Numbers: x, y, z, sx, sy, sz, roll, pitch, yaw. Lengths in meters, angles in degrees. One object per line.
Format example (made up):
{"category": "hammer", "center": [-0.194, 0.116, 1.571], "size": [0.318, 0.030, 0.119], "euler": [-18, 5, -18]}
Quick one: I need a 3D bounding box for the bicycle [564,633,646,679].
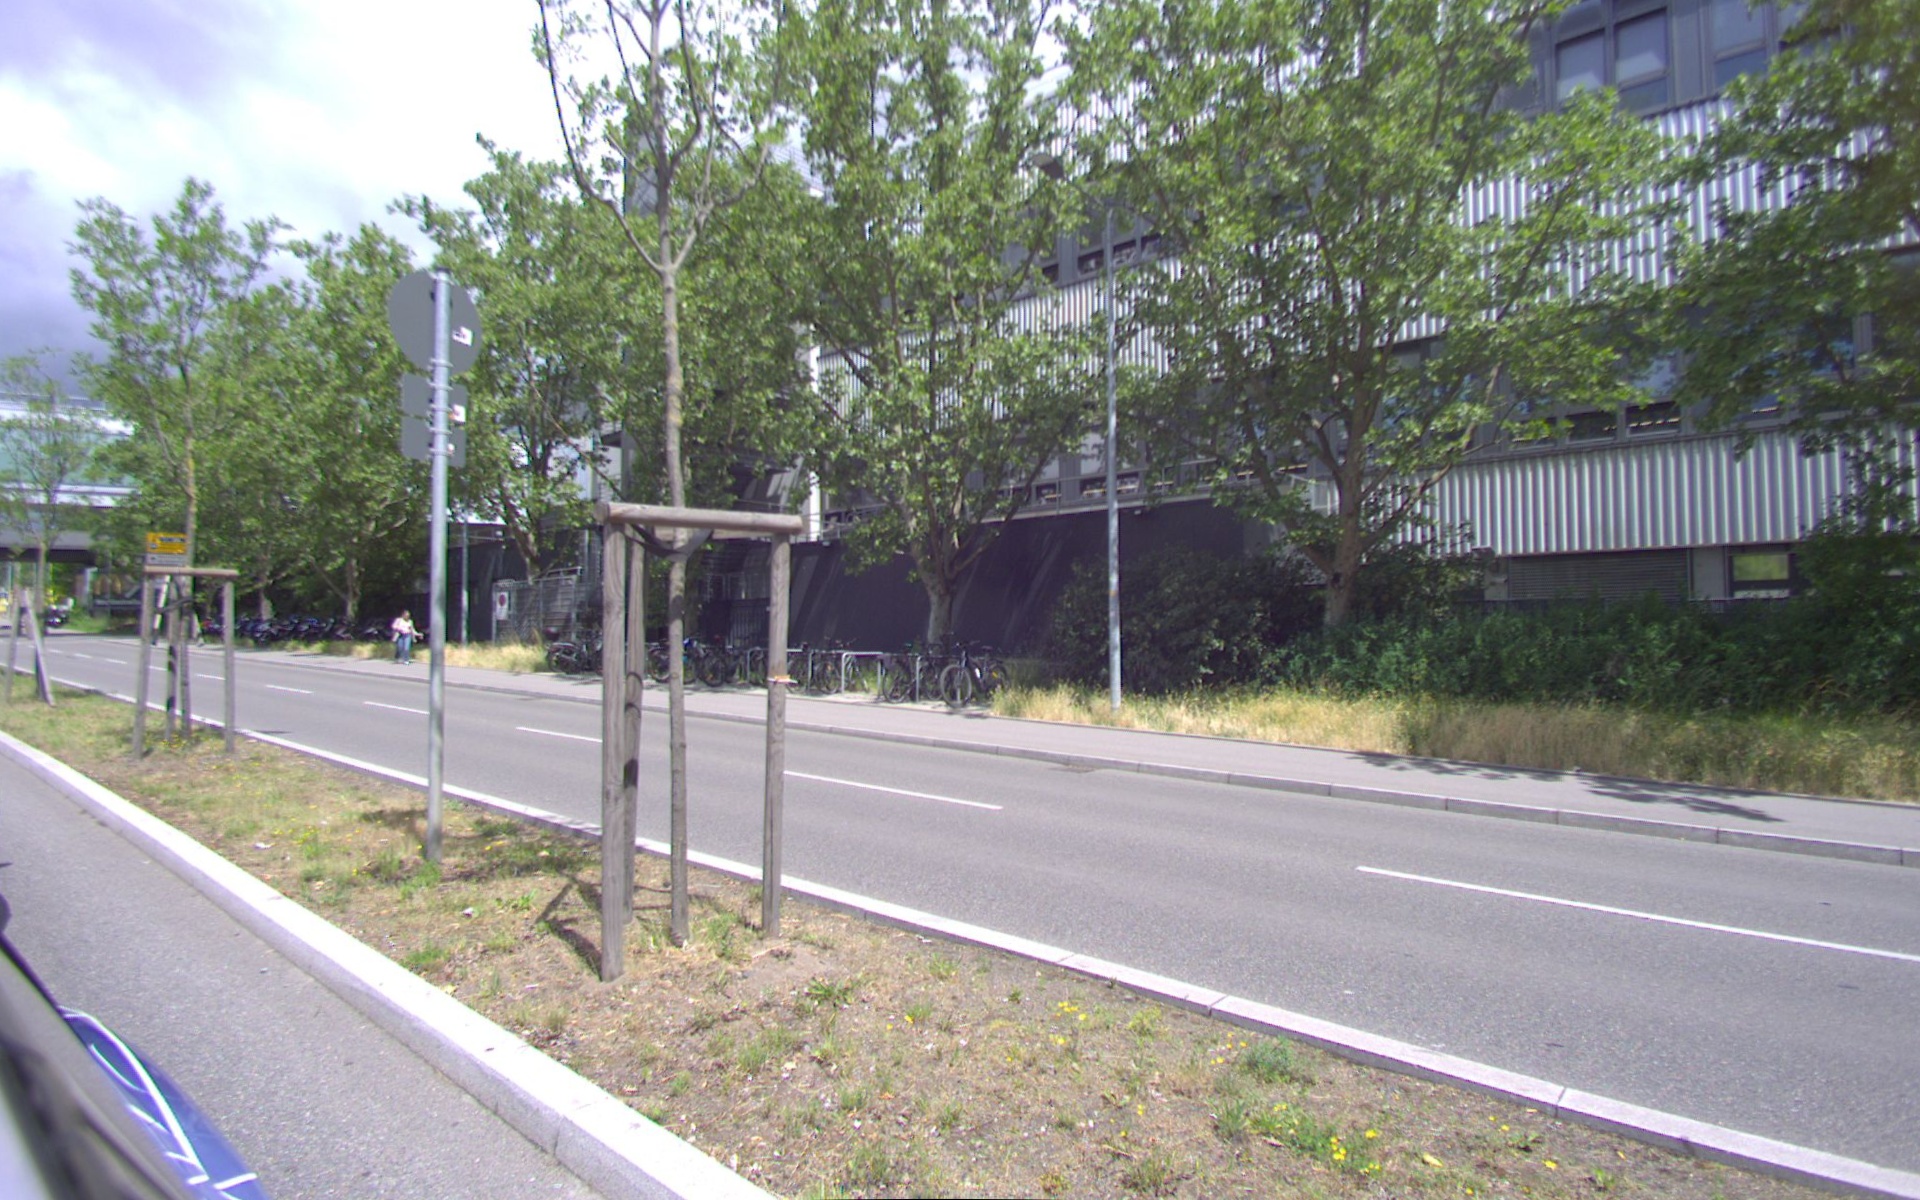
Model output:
{"category": "bicycle", "center": [-9.243, 1.437, 26.404], "size": [0.382, 1.119, 2.101], "euler": [-1, -1, 43]}

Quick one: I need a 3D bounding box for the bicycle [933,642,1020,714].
{"category": "bicycle", "center": [0.319, 1.326, 17.709], "size": [0.381, 1.137, 1.968], "euler": [-1, -1, 39]}

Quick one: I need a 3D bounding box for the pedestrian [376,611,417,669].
{"category": "pedestrian", "center": [-17.059, 1.209, 30.626], "size": [0.672, 1.733, 0.888], "euler": [-1, -2, 41]}

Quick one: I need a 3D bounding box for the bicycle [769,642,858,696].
{"category": "bicycle", "center": [-3.083, 1.441, 21.450], "size": [0.382, 1.038, 2.101], "euler": [-1, -1, 43]}

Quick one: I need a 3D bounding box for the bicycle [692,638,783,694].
{"category": "bicycle", "center": [-4.882, 1.432, 22.331], "size": [0.382, 1.119, 2.101], "euler": [-1, -1, 43]}

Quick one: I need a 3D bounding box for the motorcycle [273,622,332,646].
{"category": "motorcycle", "center": [-28.412, 1.462, 43.753], "size": [0.534, 0.976, 2.105], "euler": [-1, -1, 41]}

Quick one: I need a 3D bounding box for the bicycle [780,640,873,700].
{"category": "bicycle", "center": [-2.680, 1.402, 20.541], "size": [0.382, 1.104, 2.101], "euler": [-1, -1, 43]}

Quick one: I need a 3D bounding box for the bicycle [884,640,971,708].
{"category": "bicycle", "center": [-0.560, 1.317, 18.432], "size": [0.381, 1.137, 1.968], "euler": [-1, -1, 39]}

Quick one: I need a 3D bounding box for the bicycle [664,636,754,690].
{"category": "bicycle", "center": [-5.672, 1.403, 22.983], "size": [0.382, 1.119, 2.101], "euler": [-1, -1, 43]}

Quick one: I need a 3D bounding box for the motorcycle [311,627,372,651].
{"category": "motorcycle", "center": [-25.501, 1.599, 41.775], "size": [0.534, 0.892, 2.105], "euler": [-1, -1, 41]}

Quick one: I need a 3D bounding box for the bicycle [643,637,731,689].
{"category": "bicycle", "center": [-6.329, 1.443, 23.579], "size": [0.382, 1.119, 2.101], "euler": [-1, -1, 43]}

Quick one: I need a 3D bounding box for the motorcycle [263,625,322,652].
{"category": "motorcycle", "center": [-29.335, 1.683, 44.513], "size": [0.534, 1.146, 2.105], "euler": [-1, -1, 41]}

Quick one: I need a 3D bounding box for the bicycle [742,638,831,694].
{"category": "bicycle", "center": [-3.751, 1.414, 22.064], "size": [0.382, 1.119, 2.101], "euler": [-1, -1, 43]}

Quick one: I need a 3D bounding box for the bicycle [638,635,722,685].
{"category": "bicycle", "center": [-6.819, 1.448, 24.729], "size": [0.382, 1.119, 2.101], "euler": [-1, -1, 43]}

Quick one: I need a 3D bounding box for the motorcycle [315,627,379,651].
{"category": "motorcycle", "center": [-24.327, 1.545, 40.199], "size": [0.534, 0.905, 2.105], "euler": [-1, -1, 41]}

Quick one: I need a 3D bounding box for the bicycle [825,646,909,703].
{"category": "bicycle", "center": [-1.810, 1.448, 20.019], "size": [0.381, 1.005, 1.968], "euler": [-1, -1, 39]}

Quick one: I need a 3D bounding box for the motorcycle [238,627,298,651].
{"category": "motorcycle", "center": [-30.527, 1.705, 44.669], "size": [0.534, 0.976, 2.105], "euler": [-1, -1, 41]}

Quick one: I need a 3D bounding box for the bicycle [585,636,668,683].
{"category": "bicycle", "center": [-8.498, 1.493, 25.854], "size": [0.382, 1.119, 2.101], "euler": [-1, -1, 43]}

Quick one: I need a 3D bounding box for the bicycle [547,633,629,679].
{"category": "bicycle", "center": [-9.883, 1.470, 26.949], "size": [0.382, 1.119, 2.101], "euler": [-1, -1, 43]}

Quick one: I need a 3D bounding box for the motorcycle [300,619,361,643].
{"category": "motorcycle", "center": [-26.480, 1.308, 42.606], "size": [0.534, 0.976, 2.105], "euler": [-1, -1, 41]}

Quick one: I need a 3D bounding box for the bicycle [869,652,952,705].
{"category": "bicycle", "center": [-0.938, 1.497, 19.534], "size": [0.381, 0.897, 1.968], "euler": [-1, -1, 39]}
